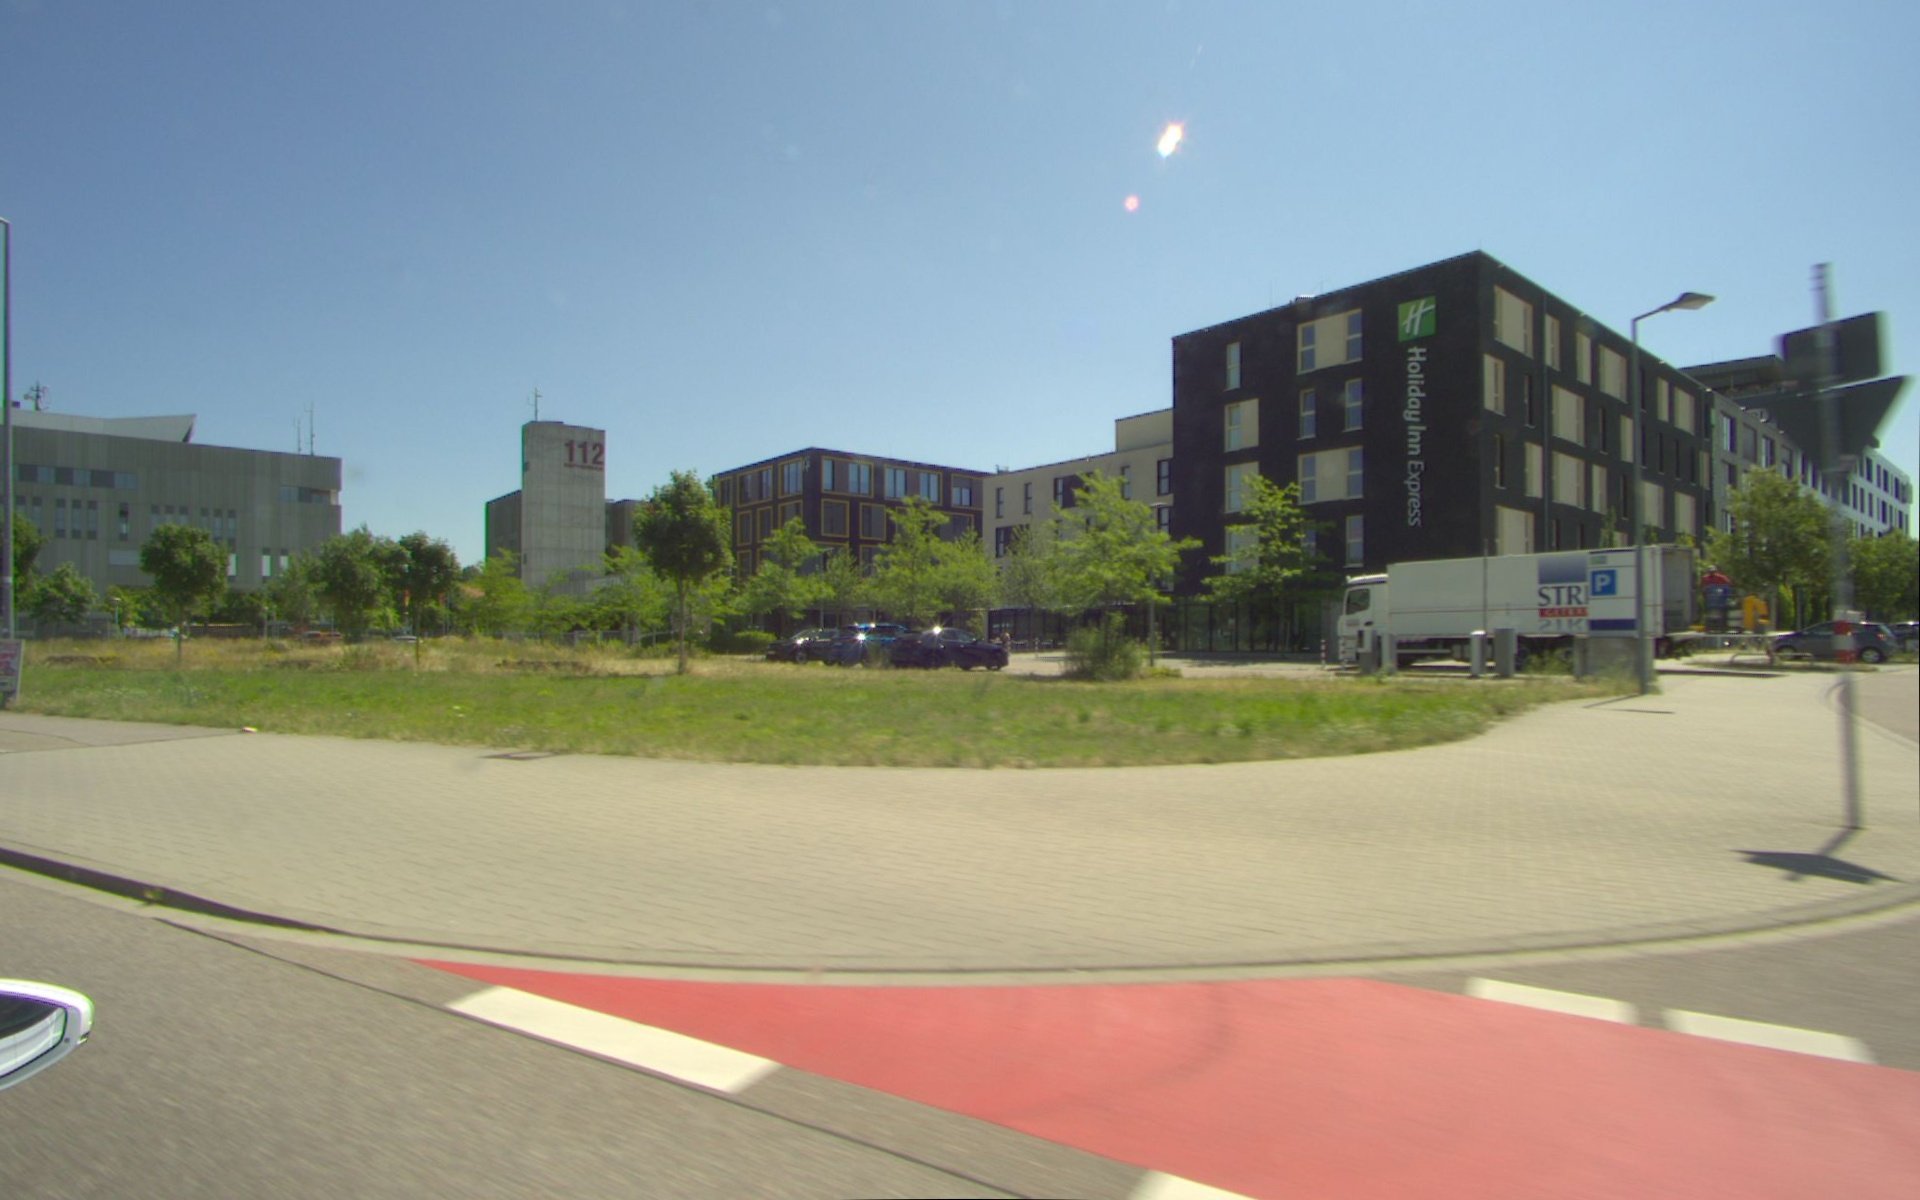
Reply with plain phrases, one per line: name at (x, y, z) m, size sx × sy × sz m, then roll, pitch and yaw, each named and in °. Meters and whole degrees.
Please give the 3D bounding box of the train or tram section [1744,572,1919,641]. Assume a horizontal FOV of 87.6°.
train or tram section at (143.518, 1.052, 146.591) m, size 9.478 × 10.052 × 44.497 m, roll 1°, pitch -2°, yaw -34°

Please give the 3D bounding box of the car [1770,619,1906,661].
car at (31.904, 1.434, 36.450) m, size 1.677 × 1.471 × 3.551 m, roll 1°, pitch -2°, yaw -41°

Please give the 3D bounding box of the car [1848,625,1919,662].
car at (44.787, 2.030, 47.376) m, size 1.658 × 1.721 × 3.982 m, roll 1°, pitch -2°, yaw -42°

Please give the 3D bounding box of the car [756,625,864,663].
car at (-6.132, 1.785, 41.119) m, size 1.942 × 1.463 × 4.090 m, roll -2°, pitch -2°, yaw 44°

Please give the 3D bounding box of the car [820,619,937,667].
car at (-3.001, 1.574, 37.290) m, size 4.028 × 1.673 × 1.938 m, roll 2°, pitch -2°, yaw -41°

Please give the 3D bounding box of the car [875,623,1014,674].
car at (-0.465, 1.577, 33.391) m, size 4.461 × 1.582 × 2.014 m, roll 2°, pitch -2°, yaw -42°

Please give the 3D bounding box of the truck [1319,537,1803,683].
truck at (16.948, 0.382, 29.766) m, size 2.983 × 3.507 × 12.046 m, roll -1°, pitch -1°, yaw -38°

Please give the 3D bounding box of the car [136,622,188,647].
car at (-75.812, 3.253, 95.188) m, size 3.812 × 2.323 × 1.728 m, roll 1°, pitch -2°, yaw -40°
